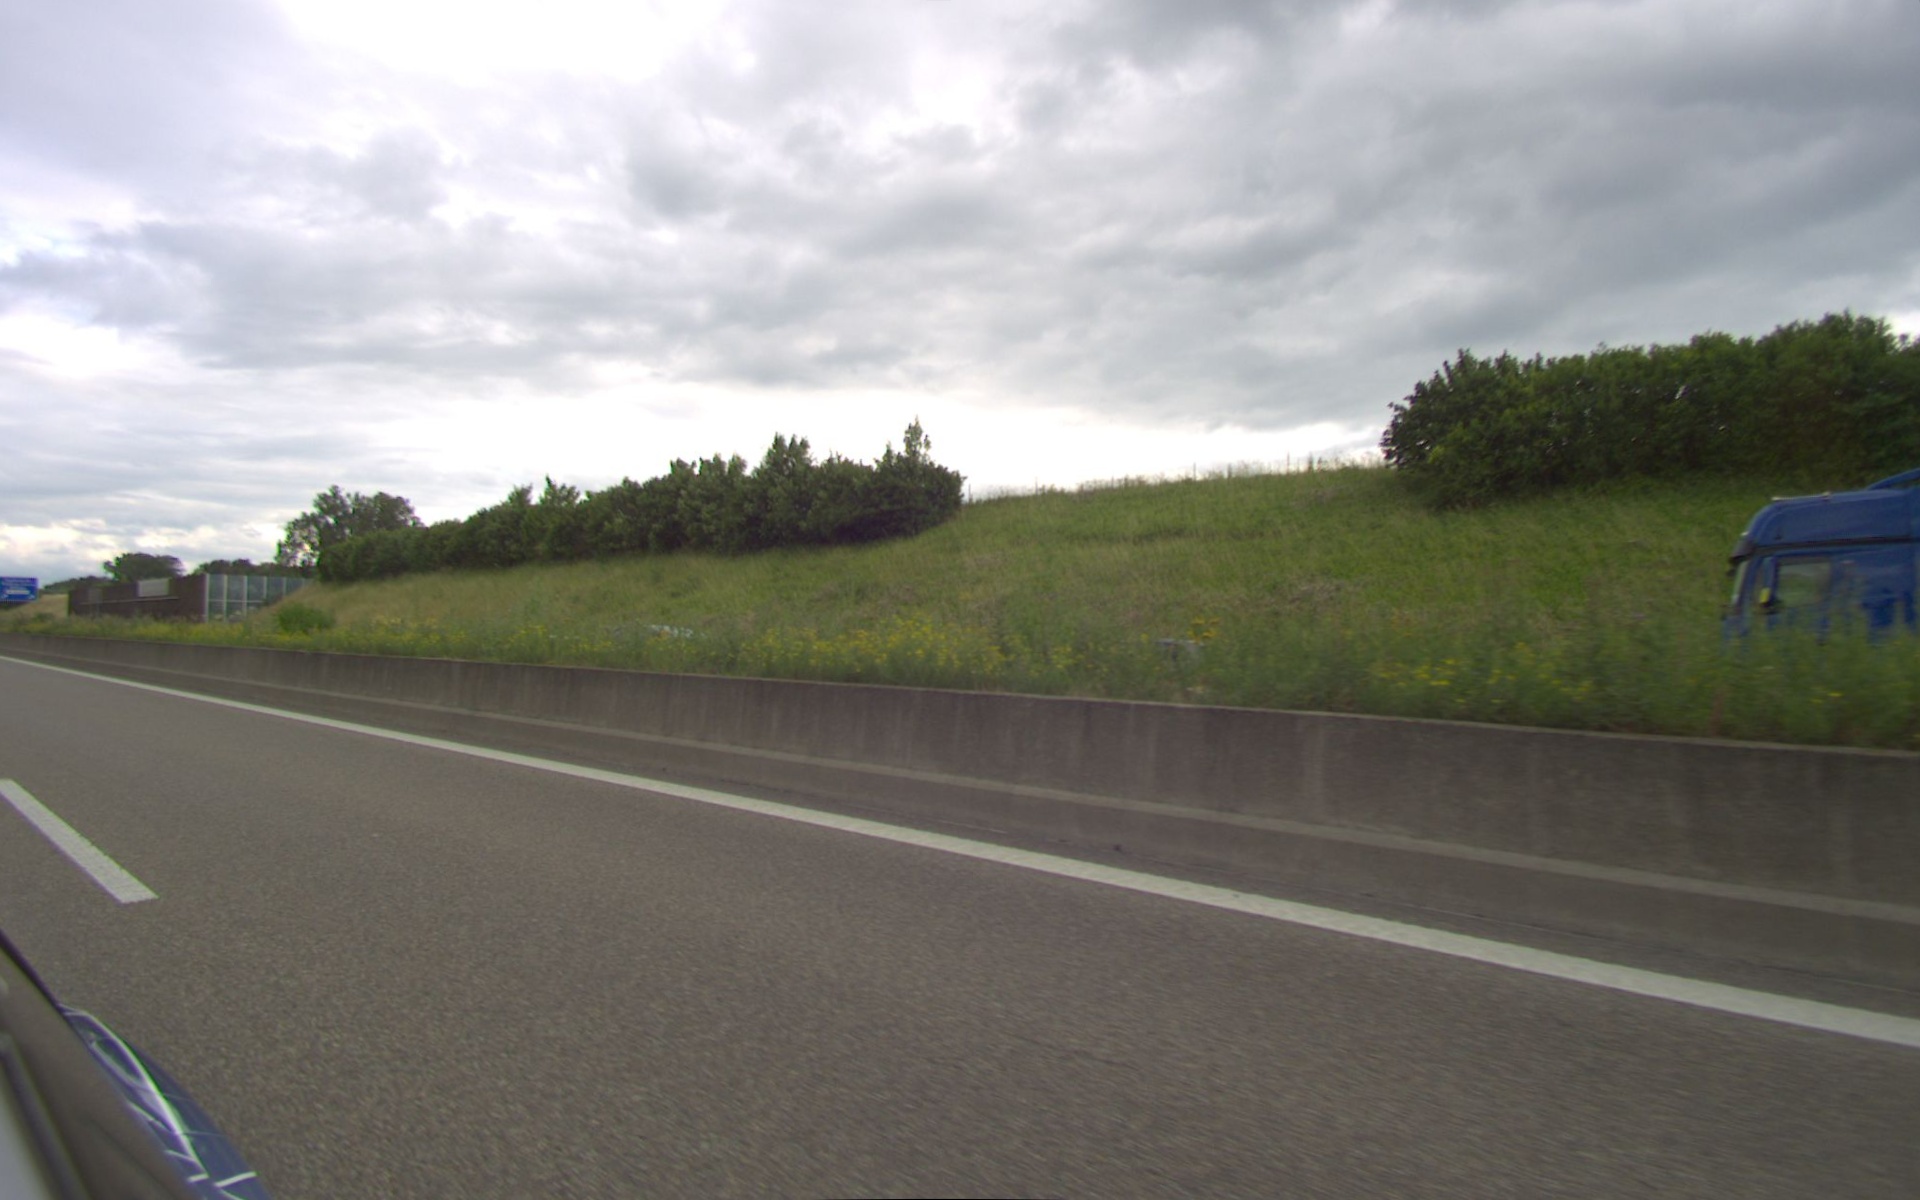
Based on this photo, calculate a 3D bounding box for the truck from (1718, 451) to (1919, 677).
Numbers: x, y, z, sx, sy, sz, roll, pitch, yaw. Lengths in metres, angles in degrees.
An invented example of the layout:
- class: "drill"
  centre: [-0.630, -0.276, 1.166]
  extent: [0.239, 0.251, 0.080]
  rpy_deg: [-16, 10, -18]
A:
- class: "truck"
  centre: [14.266, -0.502, 13.761]
  extent: [6.112, 2.968, 2.880]
  rpy_deg: [-1, 0, 41]
